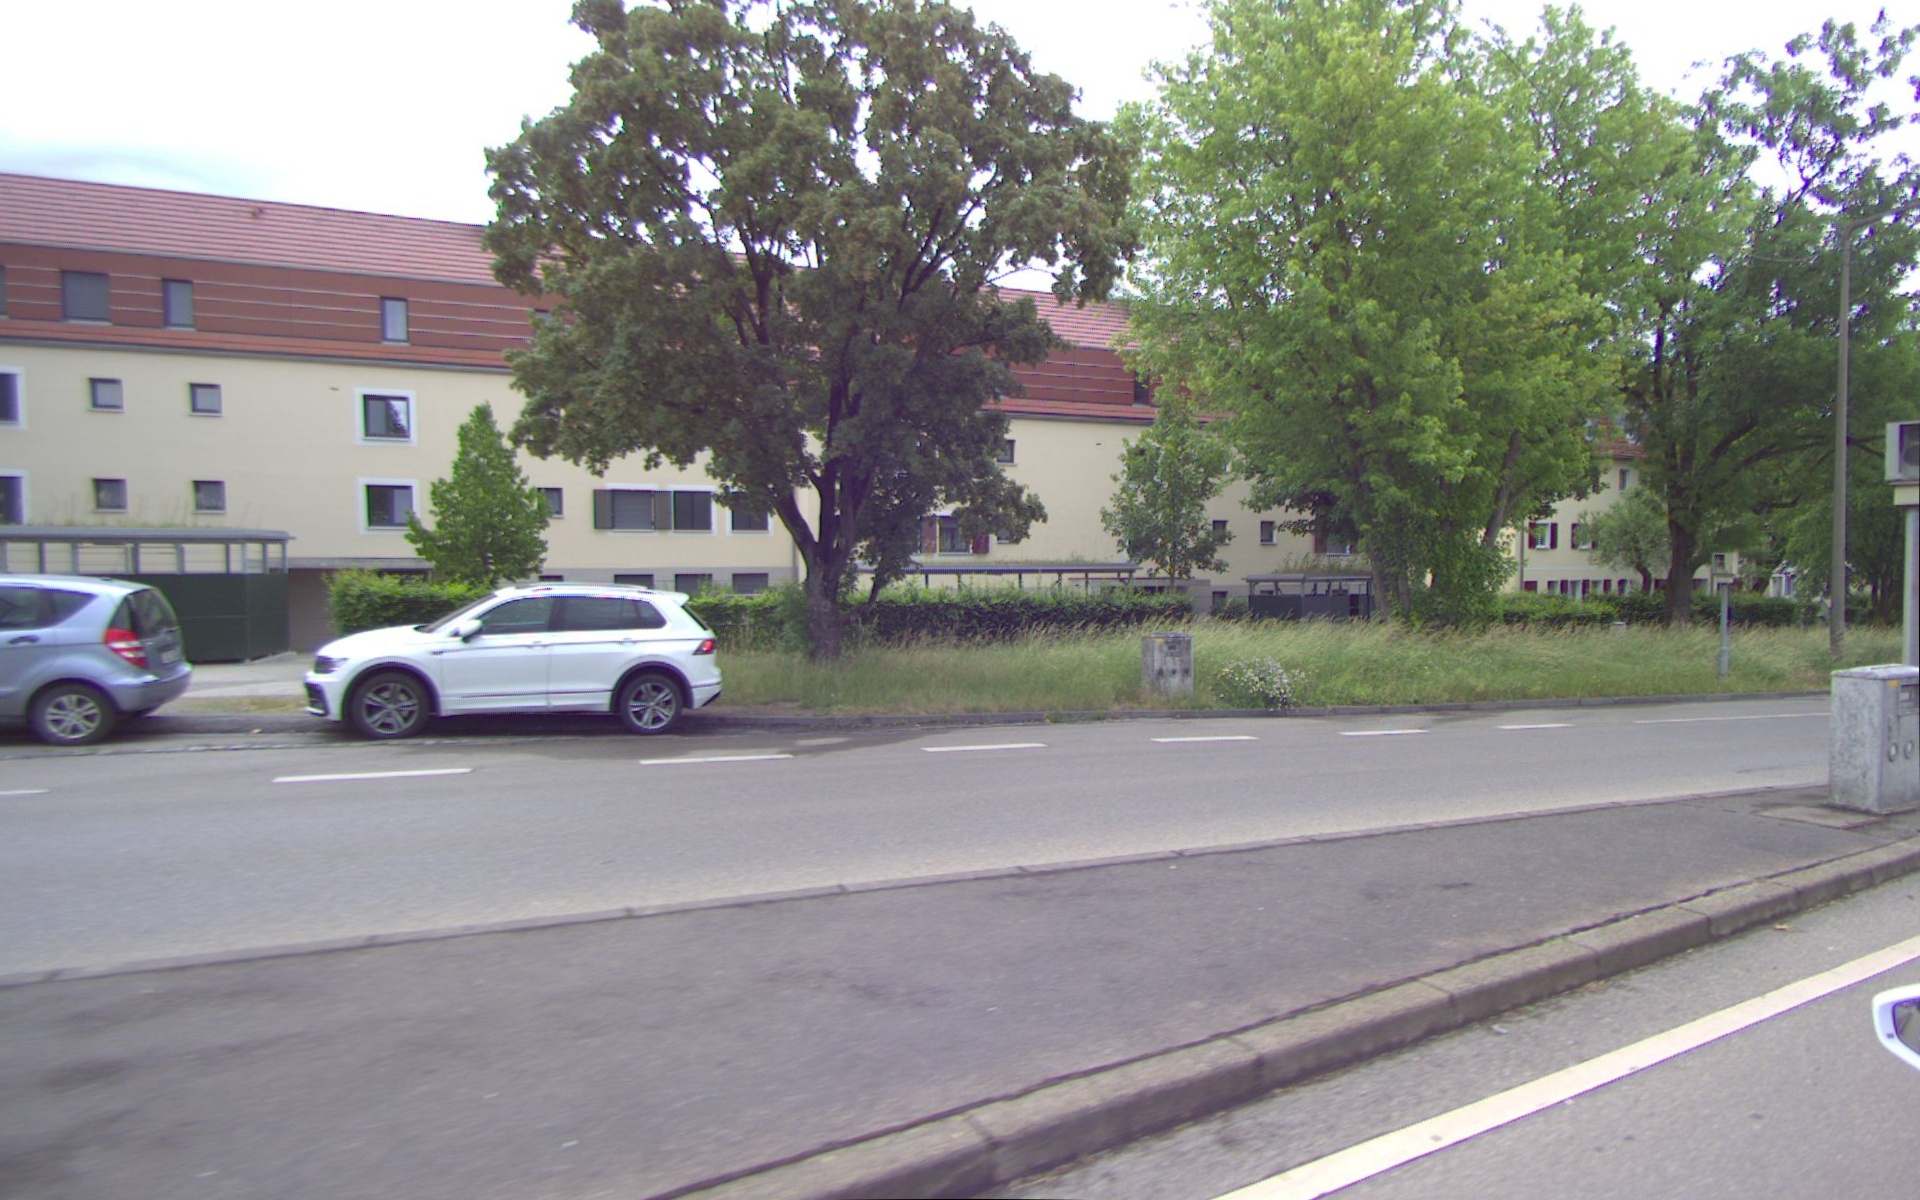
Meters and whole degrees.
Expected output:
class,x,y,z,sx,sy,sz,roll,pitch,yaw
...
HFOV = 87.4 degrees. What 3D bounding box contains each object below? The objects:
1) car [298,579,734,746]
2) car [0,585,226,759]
class,x,y,z,sx,sy,sz,roll,pitch,yaw
car,-5.027,0.677,11.861,4.328,1.689,1.871,2,0,-23
car,-9.998,0.661,10.034,3.943,1.618,1.871,1,1,-23
